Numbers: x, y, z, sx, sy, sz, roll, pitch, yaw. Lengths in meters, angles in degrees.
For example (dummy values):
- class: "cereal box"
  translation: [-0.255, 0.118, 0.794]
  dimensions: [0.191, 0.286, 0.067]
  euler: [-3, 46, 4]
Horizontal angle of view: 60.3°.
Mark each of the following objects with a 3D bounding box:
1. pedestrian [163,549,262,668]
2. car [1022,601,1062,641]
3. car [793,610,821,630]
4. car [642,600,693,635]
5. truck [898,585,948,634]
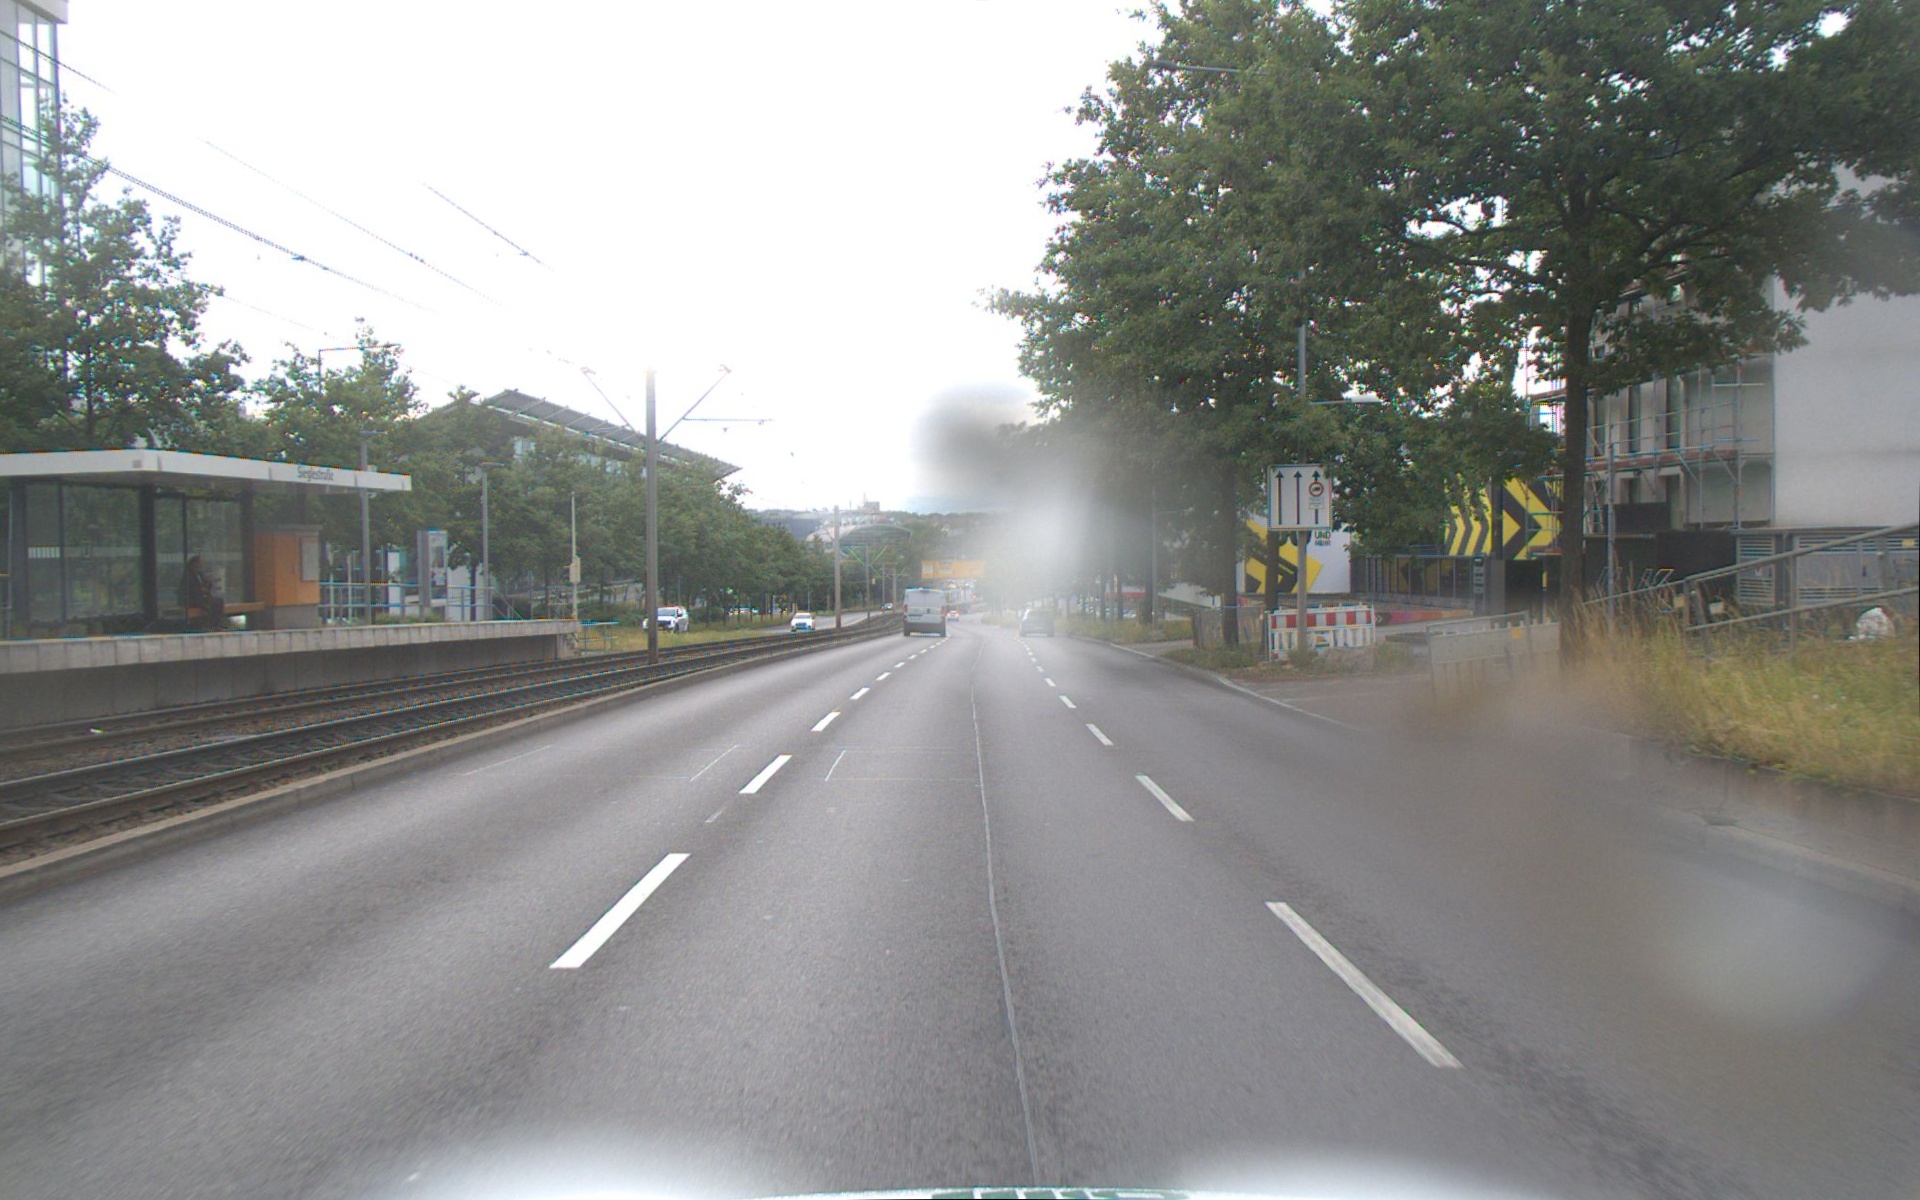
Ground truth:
- class: "pedestrian"
  translation: [-13.241, 0.152, 29.344]
  dimensions: [1.103, 2.049, 1.270]
  euler: [1, -1, 1]
- class: "car"
  translation: [4.337, 1.109, 88.303]
  dimensions: [1.952, 2.049, 3.934]
  euler: [1, -1, 1]
- class: "car"
  translation: [-12.608, 1.639, 136.318]
  dimensions: [1.799, 1.469, 4.429]
  euler: [-2, 0, 1]
- class: "car"
  translation: [-16.612, 0.970, 94.225]
  dimensions: [1.952, 1.879, 5.002]
  euler: [-2, 0, 1]
- class: "truck"
  translation: [-1.826, 0.491, 81.750]
  dimensions: [2.312, 2.301, 5.304]
  euler: [1, -1, -1]
